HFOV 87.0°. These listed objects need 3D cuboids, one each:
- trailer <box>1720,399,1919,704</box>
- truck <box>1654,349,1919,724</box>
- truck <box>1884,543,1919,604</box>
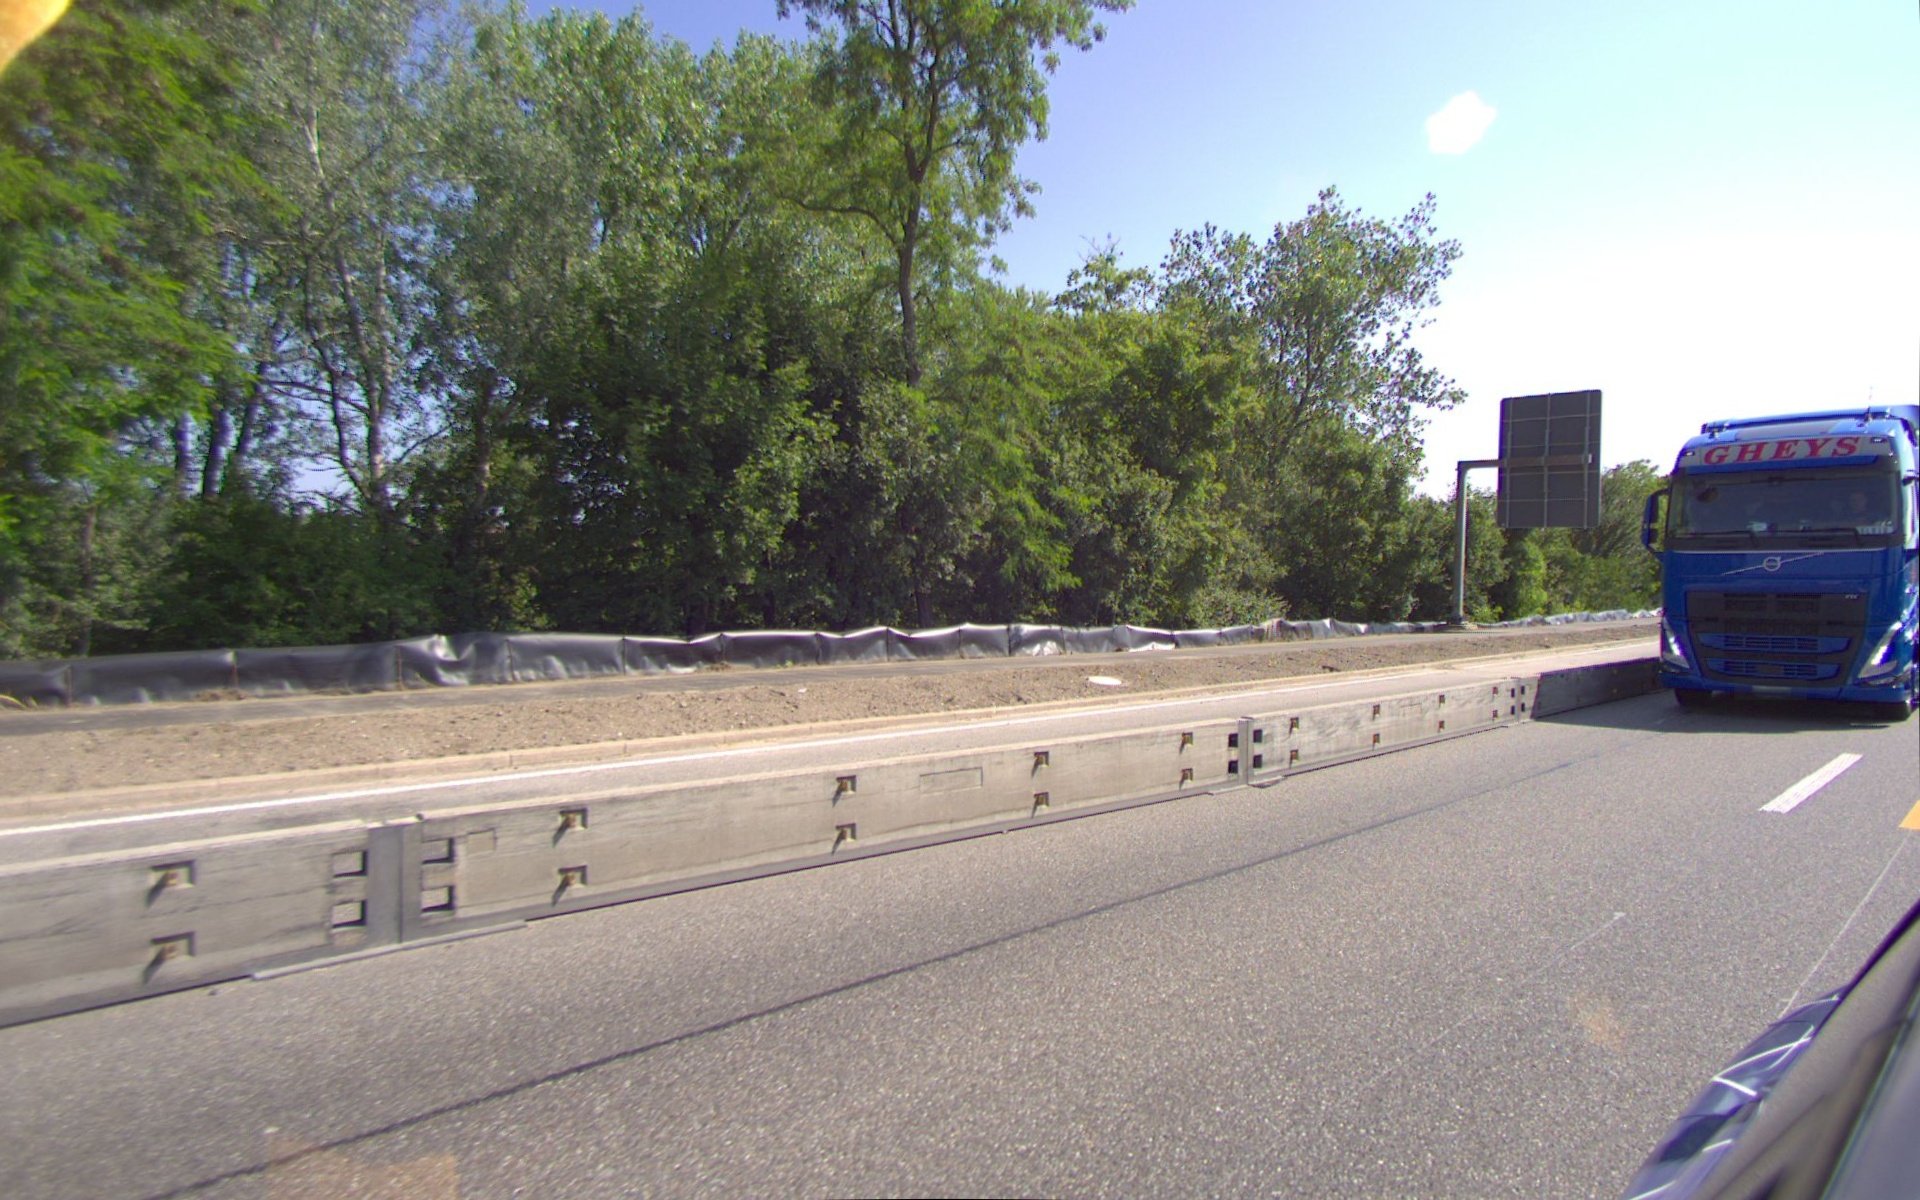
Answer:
[{"bbox_3d":[17.148,-0.710,18.832,12.404,4.188,2.697,0,3,-44],"label":"trailer"},{"bbox_3d":[12.536,-0.761,14.439,7.177,4.152,2.698,0,3,-43],"label":"truck"},{"bbox_3d":[66.285,-1.767,70.109,2.856,4.033,8.526,4,3,44],"label":"truck"}]
